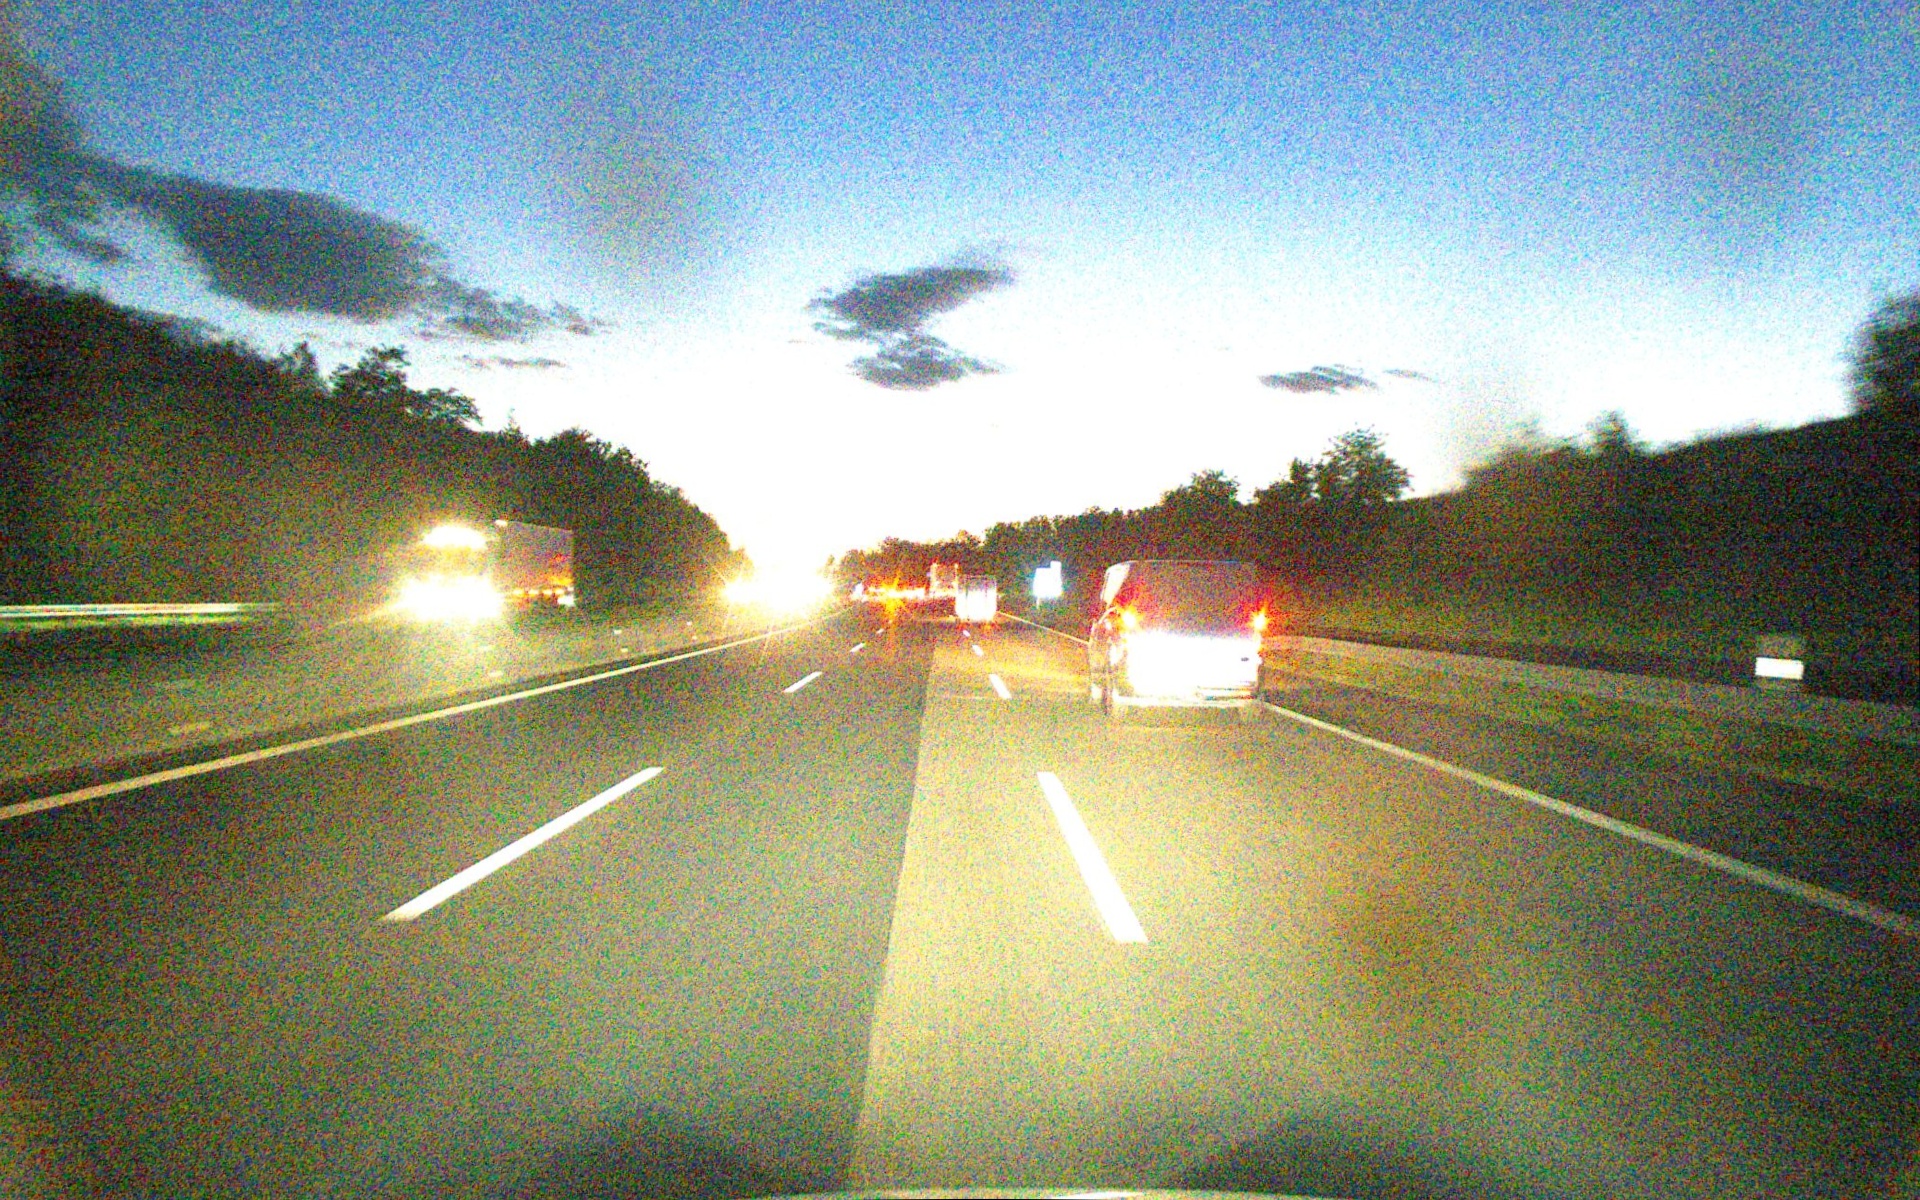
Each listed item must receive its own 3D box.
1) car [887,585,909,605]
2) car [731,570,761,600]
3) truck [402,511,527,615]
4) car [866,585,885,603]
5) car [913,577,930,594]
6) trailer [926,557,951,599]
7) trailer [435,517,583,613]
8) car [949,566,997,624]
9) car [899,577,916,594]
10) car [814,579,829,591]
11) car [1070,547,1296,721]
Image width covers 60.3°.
[{"bbox_3d":[-6.034,-0.491,161.153,1.954,1.825,3.996,1,-1,-4],"label":"car"},{"bbox_3d":[-19.082,-1.314,147.772,2.058,2.561,6.214,1,0,-2],"label":"car"},{"bbox_3d":[-20.557,-1.484,69.011,3.361,4.050,6.205,1,0,-1],"label":"truck"},{"bbox_3d":[-9.374,-0.669,183.791,1.953,1.848,3.998,1,-1,-2],"label":"car"},{"bbox_3d":[-5.358,-1.989,229.158,1.955,2.154,3.994,1,-1,-7],"label":"car"},{"bbox_3d":[-2.476,-2.479,193.775,2.772,4.331,17.044,1,-1,-1],"label":"trailer"},{"bbox_3d":[-20.750,-1.507,77.220,3.360,4.050,13.808,1,0,-1],"label":"trailer"},{"bbox_3d":[0.599,-0.244,80.901,1.992,2.693,5.721,1,0,-3],"label":"car"},{"bbox_3d":[-6.066,-1.667,192.109,1.953,1.825,3.998,1,-1,-2],"label":"car"},{"bbox_3d":[-20.774,-2.281,247.714,1.969,1.699,4.482,0,0,-1],"label":"car"},{"bbox_3d":[2.850,0.396,22.523,2.073,2.036,5.661,1,0,-2],"label":"car"}]
